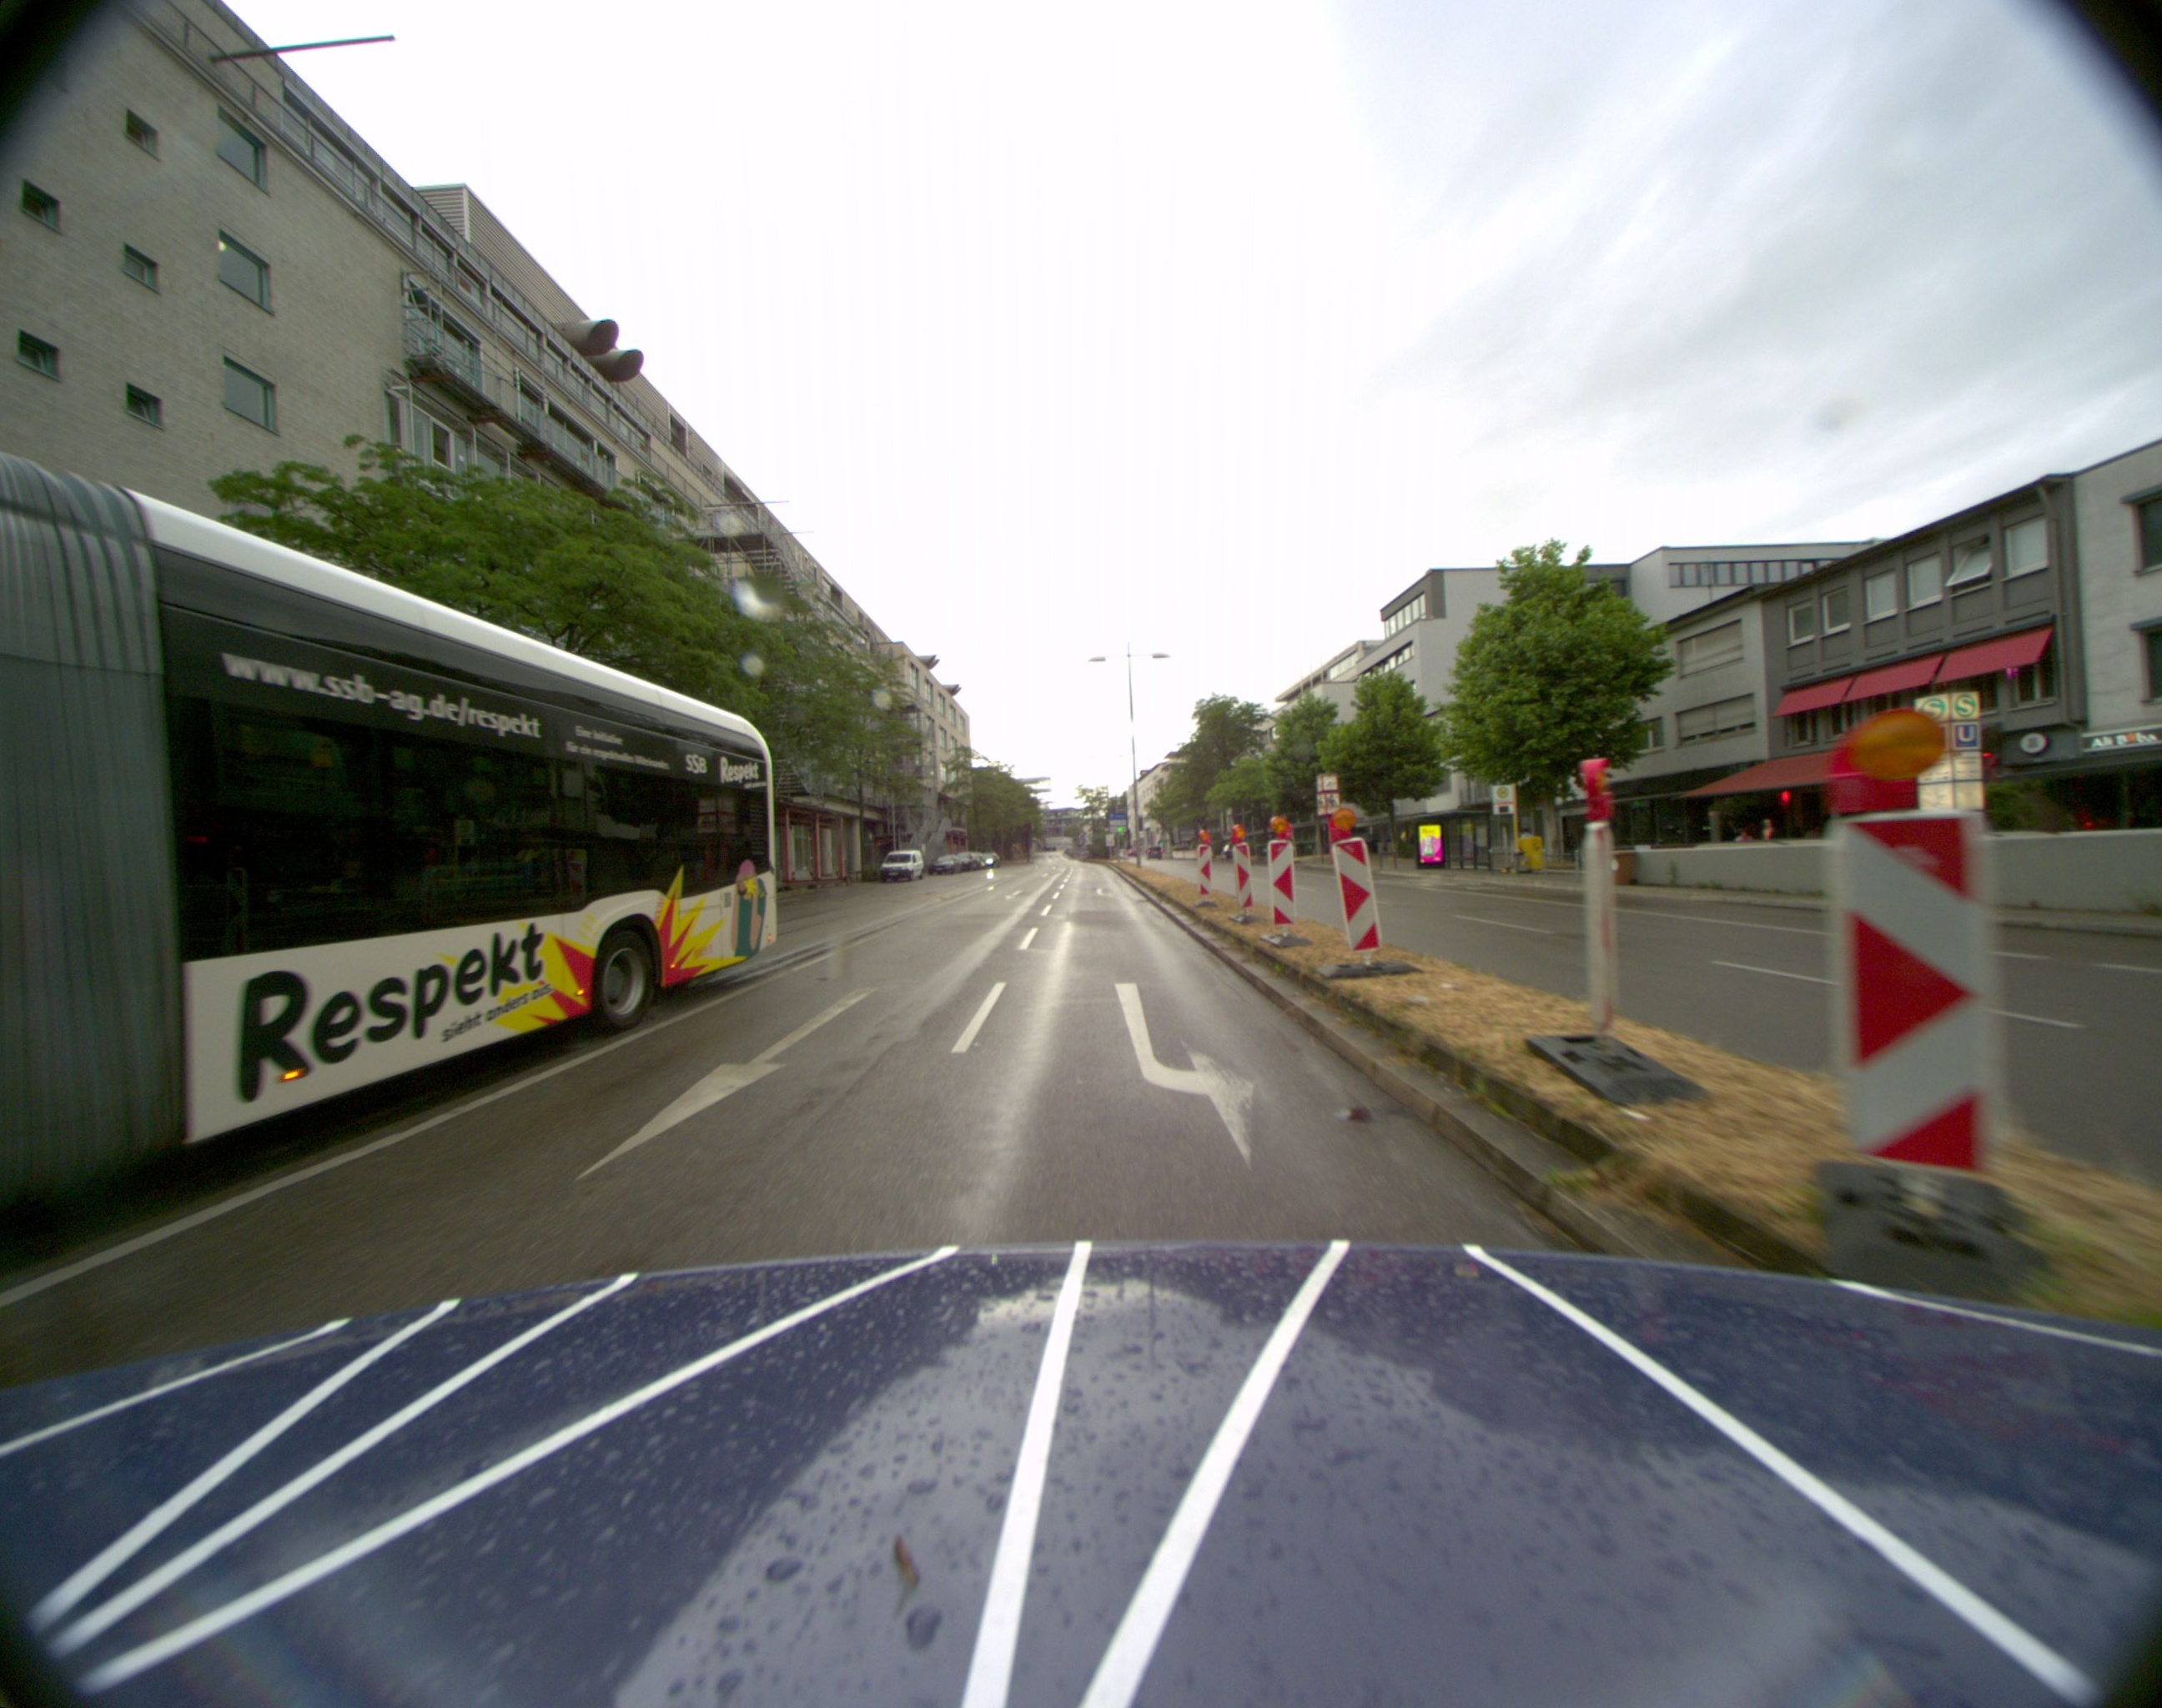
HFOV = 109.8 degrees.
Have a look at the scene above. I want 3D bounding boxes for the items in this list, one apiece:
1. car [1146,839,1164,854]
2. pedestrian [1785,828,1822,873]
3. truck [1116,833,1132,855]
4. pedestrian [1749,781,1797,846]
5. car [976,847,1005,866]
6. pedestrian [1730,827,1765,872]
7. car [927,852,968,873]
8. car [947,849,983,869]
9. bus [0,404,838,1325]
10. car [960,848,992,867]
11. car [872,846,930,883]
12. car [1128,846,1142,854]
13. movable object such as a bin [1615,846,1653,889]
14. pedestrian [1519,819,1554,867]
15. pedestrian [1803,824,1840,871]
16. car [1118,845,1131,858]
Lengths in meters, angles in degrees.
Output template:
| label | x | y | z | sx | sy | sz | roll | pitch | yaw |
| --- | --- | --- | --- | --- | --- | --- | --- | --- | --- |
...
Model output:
| label | x | y | z | sx | sy | sz | roll | pitch | yaw |
| --- | --- | --- | --- | --- | --- | --- | --- | --- | --- |
| car | 10.255 | -1.055 | 104.945 | 1.998 | 1.917 | 4.963 | 0 | 2 | 0 |
| pedestrian | 25.020 | -0.109 | 26.315 | 0.669 | 1.520 | 0.611 | -2 | 1 | 4 |
| truck | 7.196 | -1.735 | 129.002 | 1.999 | 3.557 | 7.571 | -2 | 1 | -2 |
| pedestrian | 19.606 | -1.135 | 21.549 | 0.611 | 1.813 | 0.791 | -3 | 2 | -12 |
| car | -8.830 | 0.211 | 74.340 | 2.147 | 1.637 | 4.815 | -2 | 1 | 1 |
| pedestrian | 23.303 | -0.160 | 26.585 | 0.669 | 1.520 | 0.611 | -2 | 1 | 3 |
| car | -9.834 | 0.604 | 56.343 | 2.147 | 1.329 | 4.815 | -2 | 1 | 1 |
| car | -9.566 | 0.393 | 63.137 | 2.147 | 1.486 | 4.815 | -2 | 1 | 1 |
| bus | -5.397 | -0.021 | 7.018 | 2.890 | 3.420 | 9.708 | -2 | 1 | 1 |
| car | -9.403 | 0.304 | 68.606 | 2.147 | 1.552 | 4.815 | -2 | 1 | 1 |
| car | -10.476 | 0.560 | 44.577 | 2.213 | 1.895 | 4.329 | -2 | 1 | 1 |
| car | 10.362 | -0.818 | 146.666 | 1.693 | 1.501 | 4.288 | -2 | 0 | -8 |
| movable object such as a bin | 14.599 | 0.358 | 20.075 | 0.507 | 1.094 | 0.660 | -2 | 2 | -2 |
| pedestrian | 19.332 | -0.471 | 32.266 | 0.922 | 2.002 | 0.944 | -2 | 2 | 0 |
| pedestrian | 25.031 | -0.220 | 25.688 | 0.669 | 1.520 | 0.611 | -2 | 1 | 3 |
| car | 7.072 | -0.369 | 124.337 | 1.998 | 2.002 | 3.999 | -2 | 1 | 1 |
